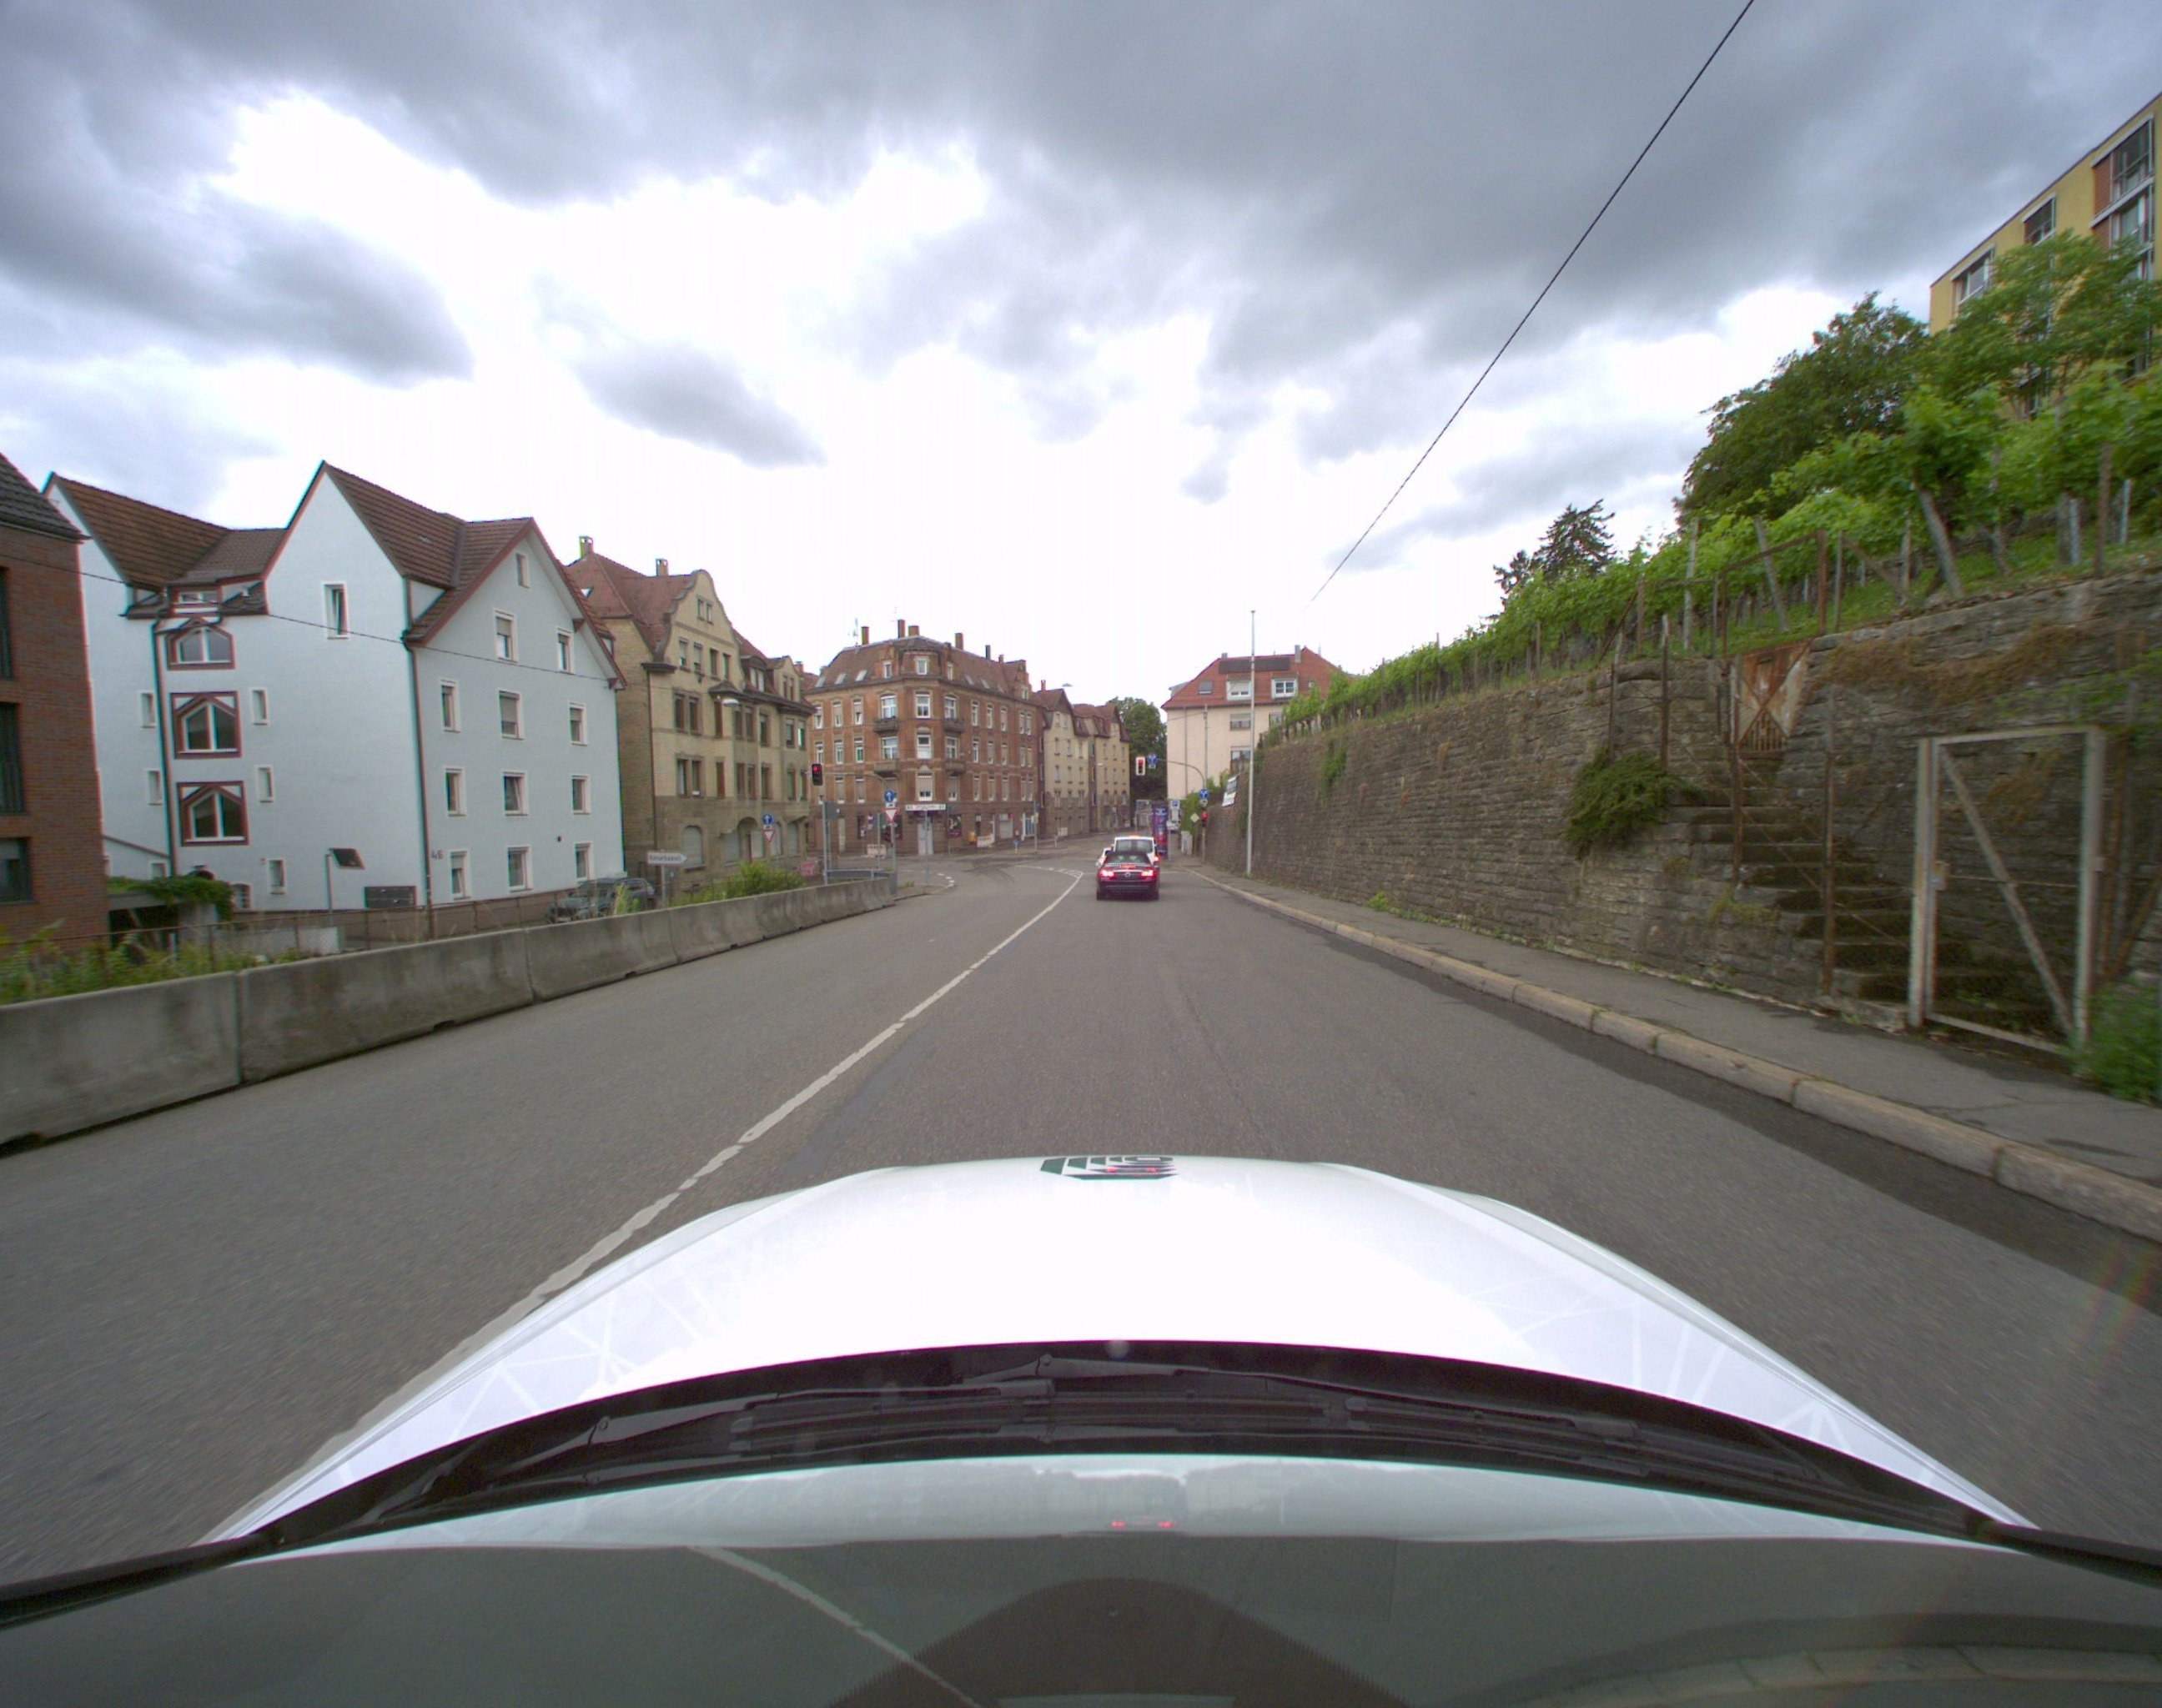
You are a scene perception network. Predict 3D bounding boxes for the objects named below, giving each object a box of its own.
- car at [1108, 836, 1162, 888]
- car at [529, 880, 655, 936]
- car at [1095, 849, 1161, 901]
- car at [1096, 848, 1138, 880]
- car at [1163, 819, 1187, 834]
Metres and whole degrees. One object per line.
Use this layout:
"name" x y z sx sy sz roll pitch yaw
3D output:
"car" 2.006 0.266 31.115 1.902 1.884 4.002 0 1 2
"car" -17.645 1.901 29.630 1.786 1.608 4.006 -3 1 5
"car" 1.355 0.560 24.366 1.809 1.430 4.002 0 0 2
"car" 1.668 0.427 38.080 1.834 1.441 4.002 0 1 2
"car" 11.636 -3.440 100.996 1.825 1.702 4.023 0 2 24
